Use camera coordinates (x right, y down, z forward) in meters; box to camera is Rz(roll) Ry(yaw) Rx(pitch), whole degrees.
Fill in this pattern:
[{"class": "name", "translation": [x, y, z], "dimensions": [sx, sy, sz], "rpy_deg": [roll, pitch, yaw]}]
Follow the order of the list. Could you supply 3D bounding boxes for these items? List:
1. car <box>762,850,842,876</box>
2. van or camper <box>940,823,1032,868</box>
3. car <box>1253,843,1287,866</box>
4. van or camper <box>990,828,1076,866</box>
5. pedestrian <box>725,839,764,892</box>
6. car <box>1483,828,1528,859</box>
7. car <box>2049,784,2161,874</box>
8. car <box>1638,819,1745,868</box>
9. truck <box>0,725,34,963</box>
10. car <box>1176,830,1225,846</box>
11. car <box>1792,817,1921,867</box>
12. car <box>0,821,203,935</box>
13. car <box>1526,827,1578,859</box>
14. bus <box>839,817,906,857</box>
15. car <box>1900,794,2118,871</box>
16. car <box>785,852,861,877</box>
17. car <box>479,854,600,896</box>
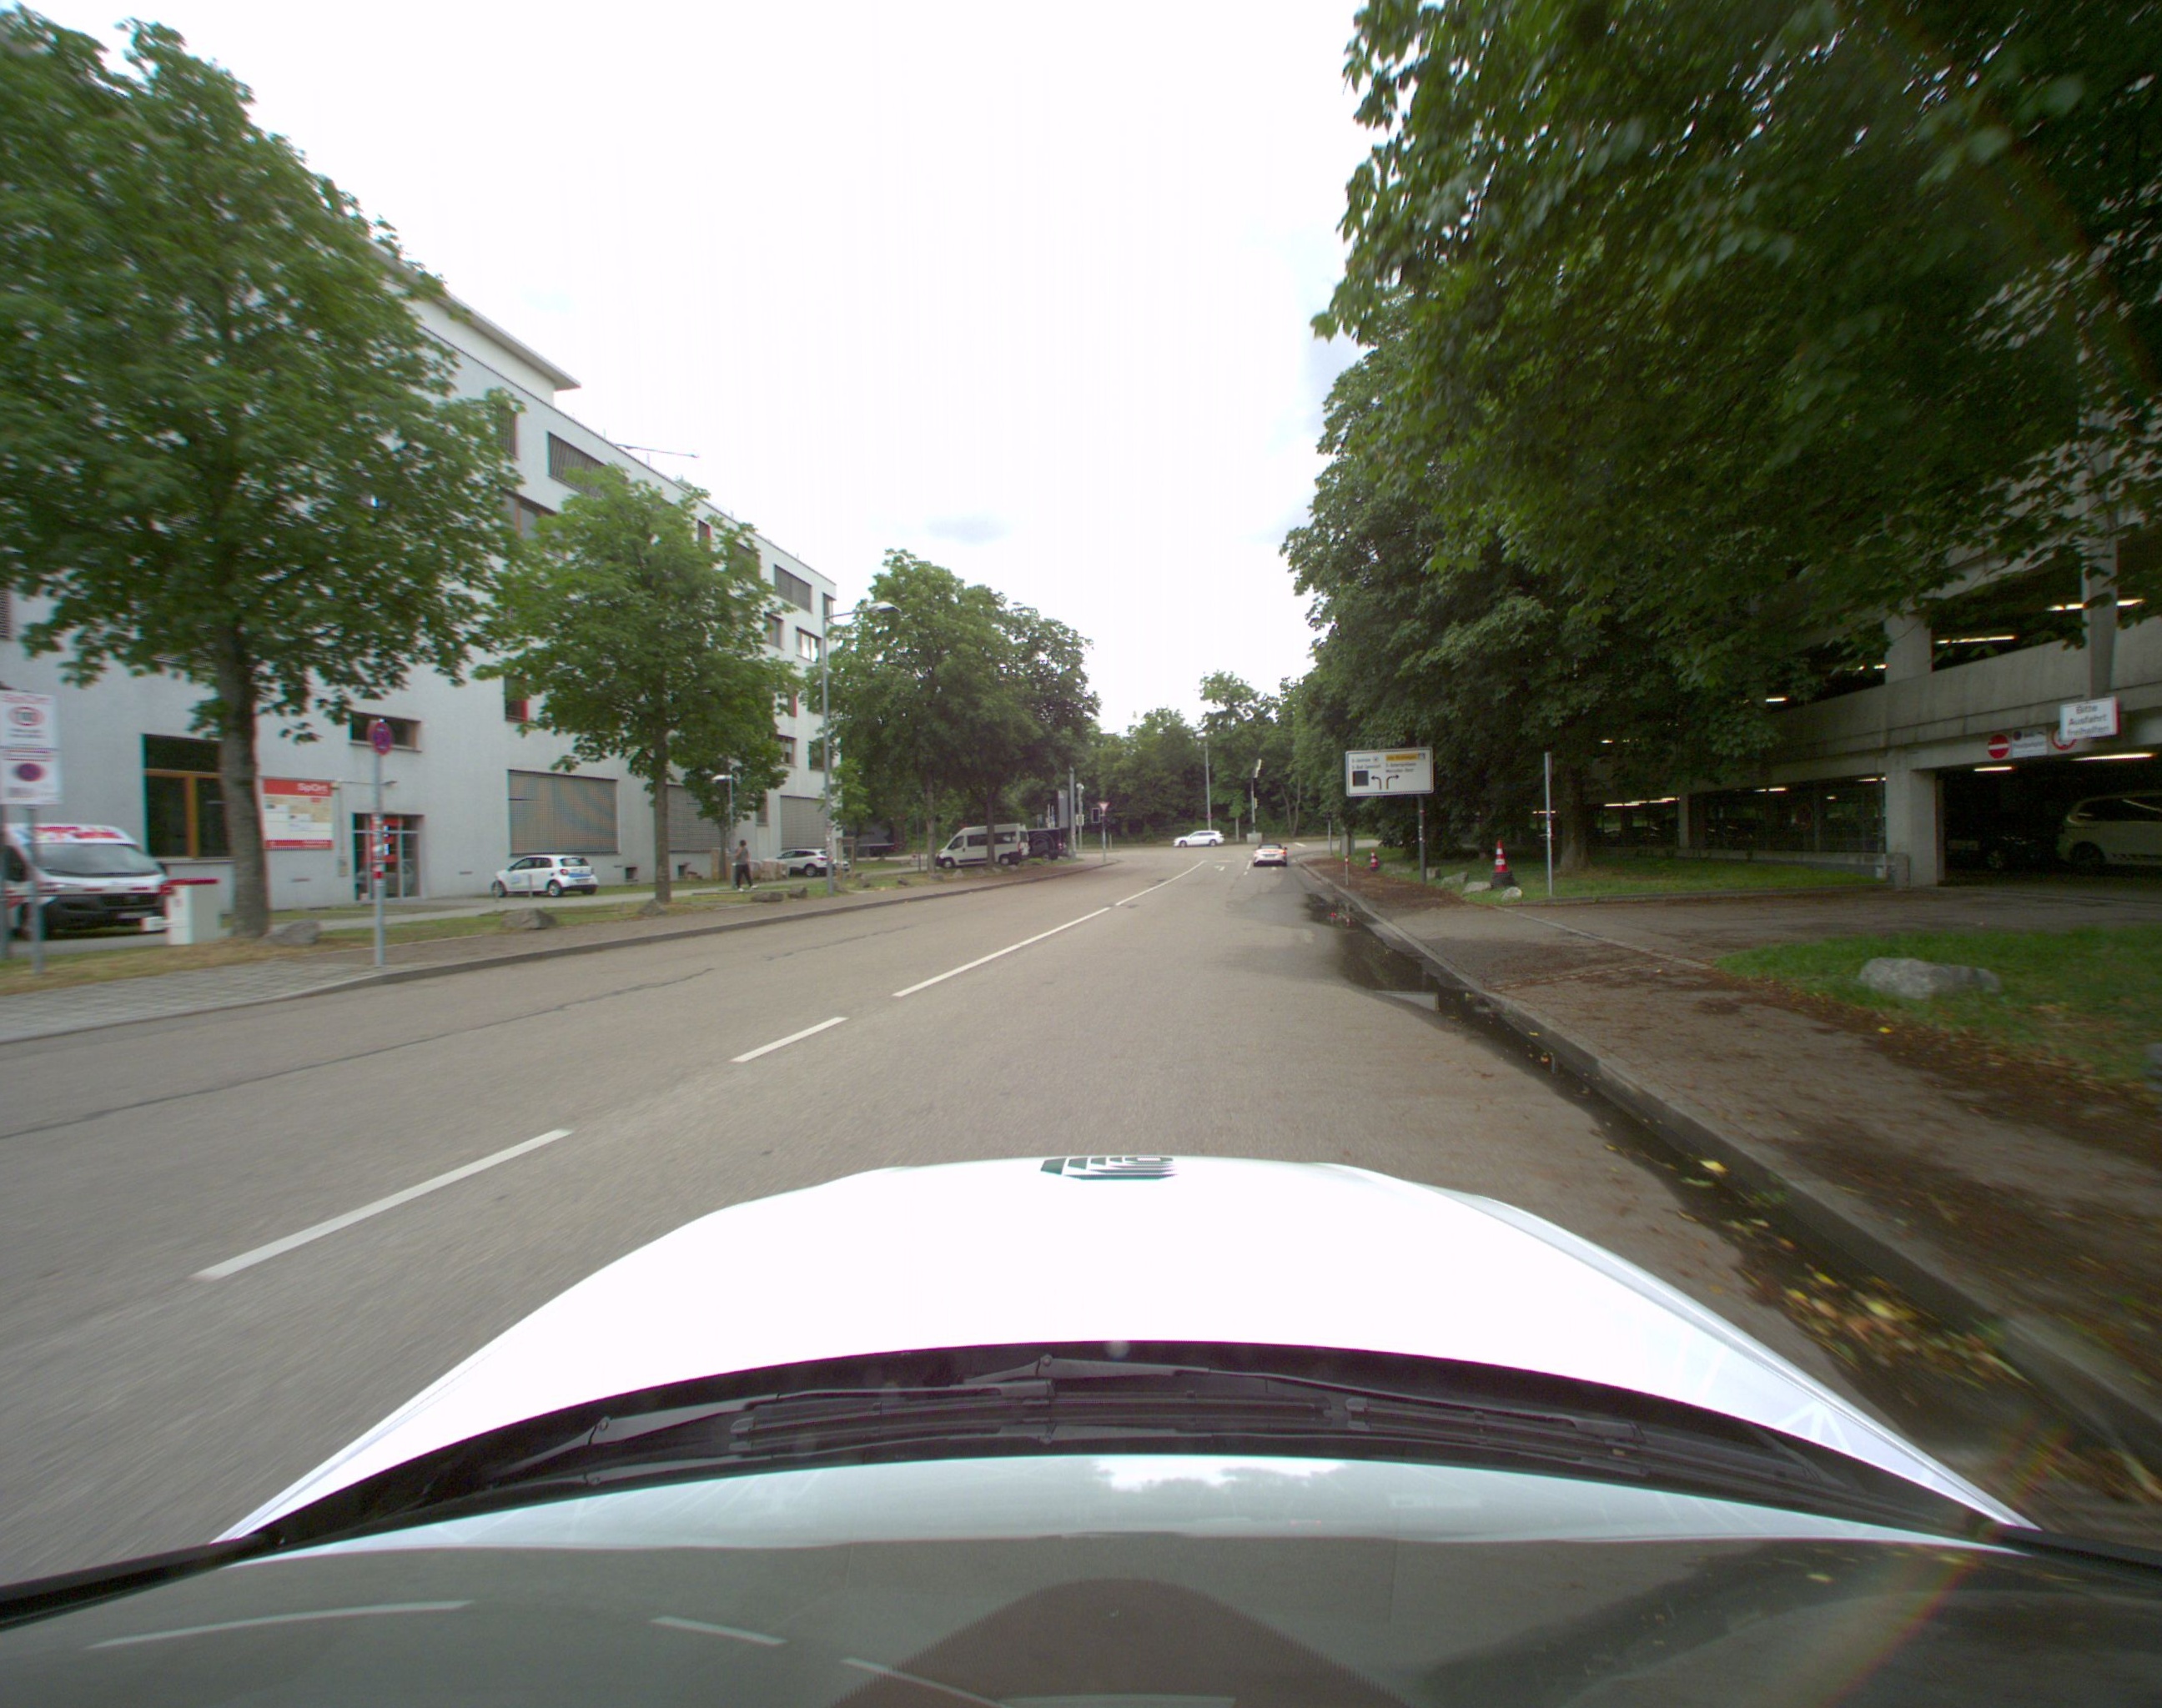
[{"class": "car", "translation": [-16.204, 0.502, 47.411], "dimensions": [3.975, 1.456, 1.904], "rpy_deg": [0, -1, 8]}, {"class": "van or camper", "translation": [-5.564, -0.475, 47.996], "dimensions": [4.939, 2.570, 2.068], "rpy_deg": [-1, -1, 11]}, {"class": "car", "translation": [10.839, 0.043, 46.908], "dimensions": [1.816, 1.257, 4.012], "rpy_deg": [-1, -1, 11]}, {"class": "van or camper", "translation": [-3.332, -0.477, 57.049], "dimensions": [5.495, 2.313, 2.070], "rpy_deg": [-3, -1, 14]}, {"class": "pedestrian", "translation": [-10.769, 0.371, 26.086], "dimensions": [0.838, 1.672, 0.788], "rpy_deg": [0, -1, 7]}, {"class": "car", "translation": [24.808, -0.585, 47.710], "dimensions": [1.470, 1.708, 3.733], "rpy_deg": [-1, -1, 13]}, {"class": "car", "translation": [21.351, -0.486, 15.310], "dimensions": [1.574, 1.708, 4.684], "rpy_deg": [-1, -1, 13]}, {"class": "car", "translation": [26.533, -0.412, 35.610], "dimensions": [1.980, 2.014, 4.691], "rpy_deg": [-1, -1, 13]}, {"class": "truck", "translation": [-18.330, -0.164, 8.726], "dimensions": [2.660, 3.601, 8.389], "rpy_deg": [-1, -1, 10]}, {"class": "car", "translation": [11.434, -1.553, 77.940], "dimensions": [4.646, 1.456, 1.904], "rpy_deg": [0, -1, 8]}, {"class": "car", "translation": [28.182, -0.393, 29.746], "dimensions": [1.705, 1.680, 3.714], "rpy_deg": [-1, -1, 12]}, {"class": "car", "translation": [-22.631, 0.515, 17.806], "dimensions": [5.588, 2.279, 2.086], "rpy_deg": [-1, -1, 12]}, {"class": "car", "translation": [27.077, -0.589, 46.901], "dimensions": [1.569, 1.708, 3.783], "rpy_deg": [-1, -1, 13]}, {"class": "bus", "translation": [-21.133, -1.665, 82.725], "dimensions": [6.176, 3.958, 2.358], "rpy_deg": [-1, -1, 12]}, {"class": "car", "translation": [22.539, -0.457, 20.028], "dimensions": [1.574, 1.708, 3.871], "rpy_deg": [-1, -1, 13]}, {"class": "car", "translation": [-15.805, 0.639, 49.966], "dimensions": [3.975, 1.456, 1.904], "rpy_deg": [0, -1, 8]}, {"class": "car", "translation": [-20.112, 0.775, 30.298], "dimensions": [3.587, 1.500, 1.698], "rpy_deg": [-1, -1, 12]}]
